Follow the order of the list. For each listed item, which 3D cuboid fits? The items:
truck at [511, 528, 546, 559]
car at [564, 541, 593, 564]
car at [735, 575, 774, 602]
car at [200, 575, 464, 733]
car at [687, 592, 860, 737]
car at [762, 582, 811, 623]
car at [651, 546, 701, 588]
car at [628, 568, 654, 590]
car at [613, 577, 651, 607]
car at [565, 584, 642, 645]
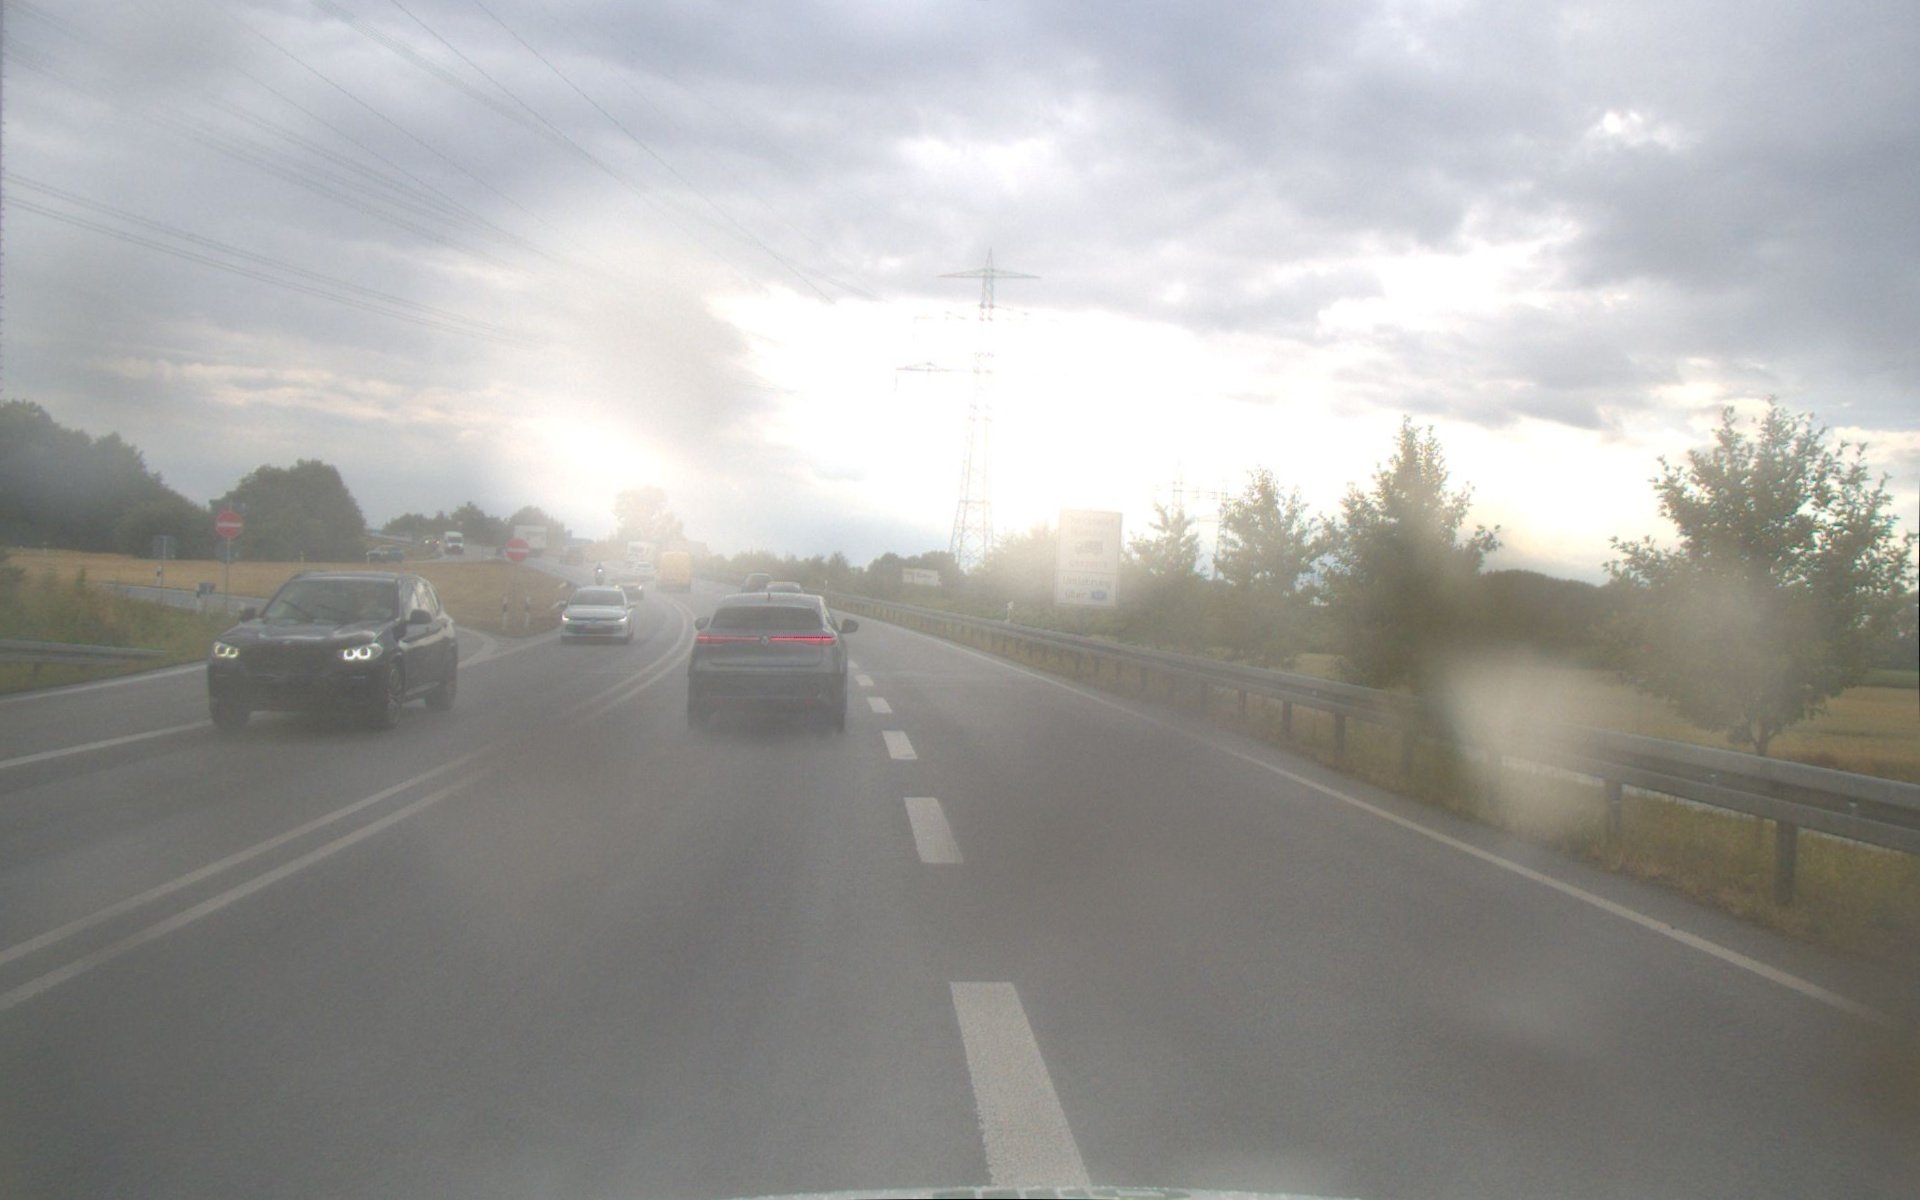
[{"bbox_3d":[-51.864,-6.781,198.600,3.005,3.444,7.590,2,0,-23],"label":"truck"},{"bbox_3d":[-40.605,-5.011,175.884,2.562,2.290,5.507,2,0,-18],"label":"car"},{"bbox_3d":[-12.589,-0.703,101.193,1.763,1.568,3.982,0,0,-17],"label":"car"},{"bbox_3d":[-7.026,0.547,18.976,1.765,1.602,4.254,0,0,-6],"label":"car"},{"bbox_3d":[-2.146,0.733,19.495,1.757,1.466,3.995,2,-2,-5],"label":"car"},{"bbox_3d":[-6.733,0.070,63.836,1.758,1.466,3.994,2,1,-7],"label":"car"},{"bbox_3d":[-19.379,-2.226,112.452,2.532,2.773,7.163,0,1,-17],"label":"car"},{"bbox_3d":[-26.051,-1.683,135.041,1.762,1.717,3.984,2,0,-15],"label":"car"},{"bbox_3d":[-18.700,-0.417,94.138,1.770,1.622,4.207,1,-1,-16],"label":"car"},{"bbox_3d":[-9.509,0.388,44.379,1.673,1.506,4.601,1,-1,-9],"label":"car"}]
